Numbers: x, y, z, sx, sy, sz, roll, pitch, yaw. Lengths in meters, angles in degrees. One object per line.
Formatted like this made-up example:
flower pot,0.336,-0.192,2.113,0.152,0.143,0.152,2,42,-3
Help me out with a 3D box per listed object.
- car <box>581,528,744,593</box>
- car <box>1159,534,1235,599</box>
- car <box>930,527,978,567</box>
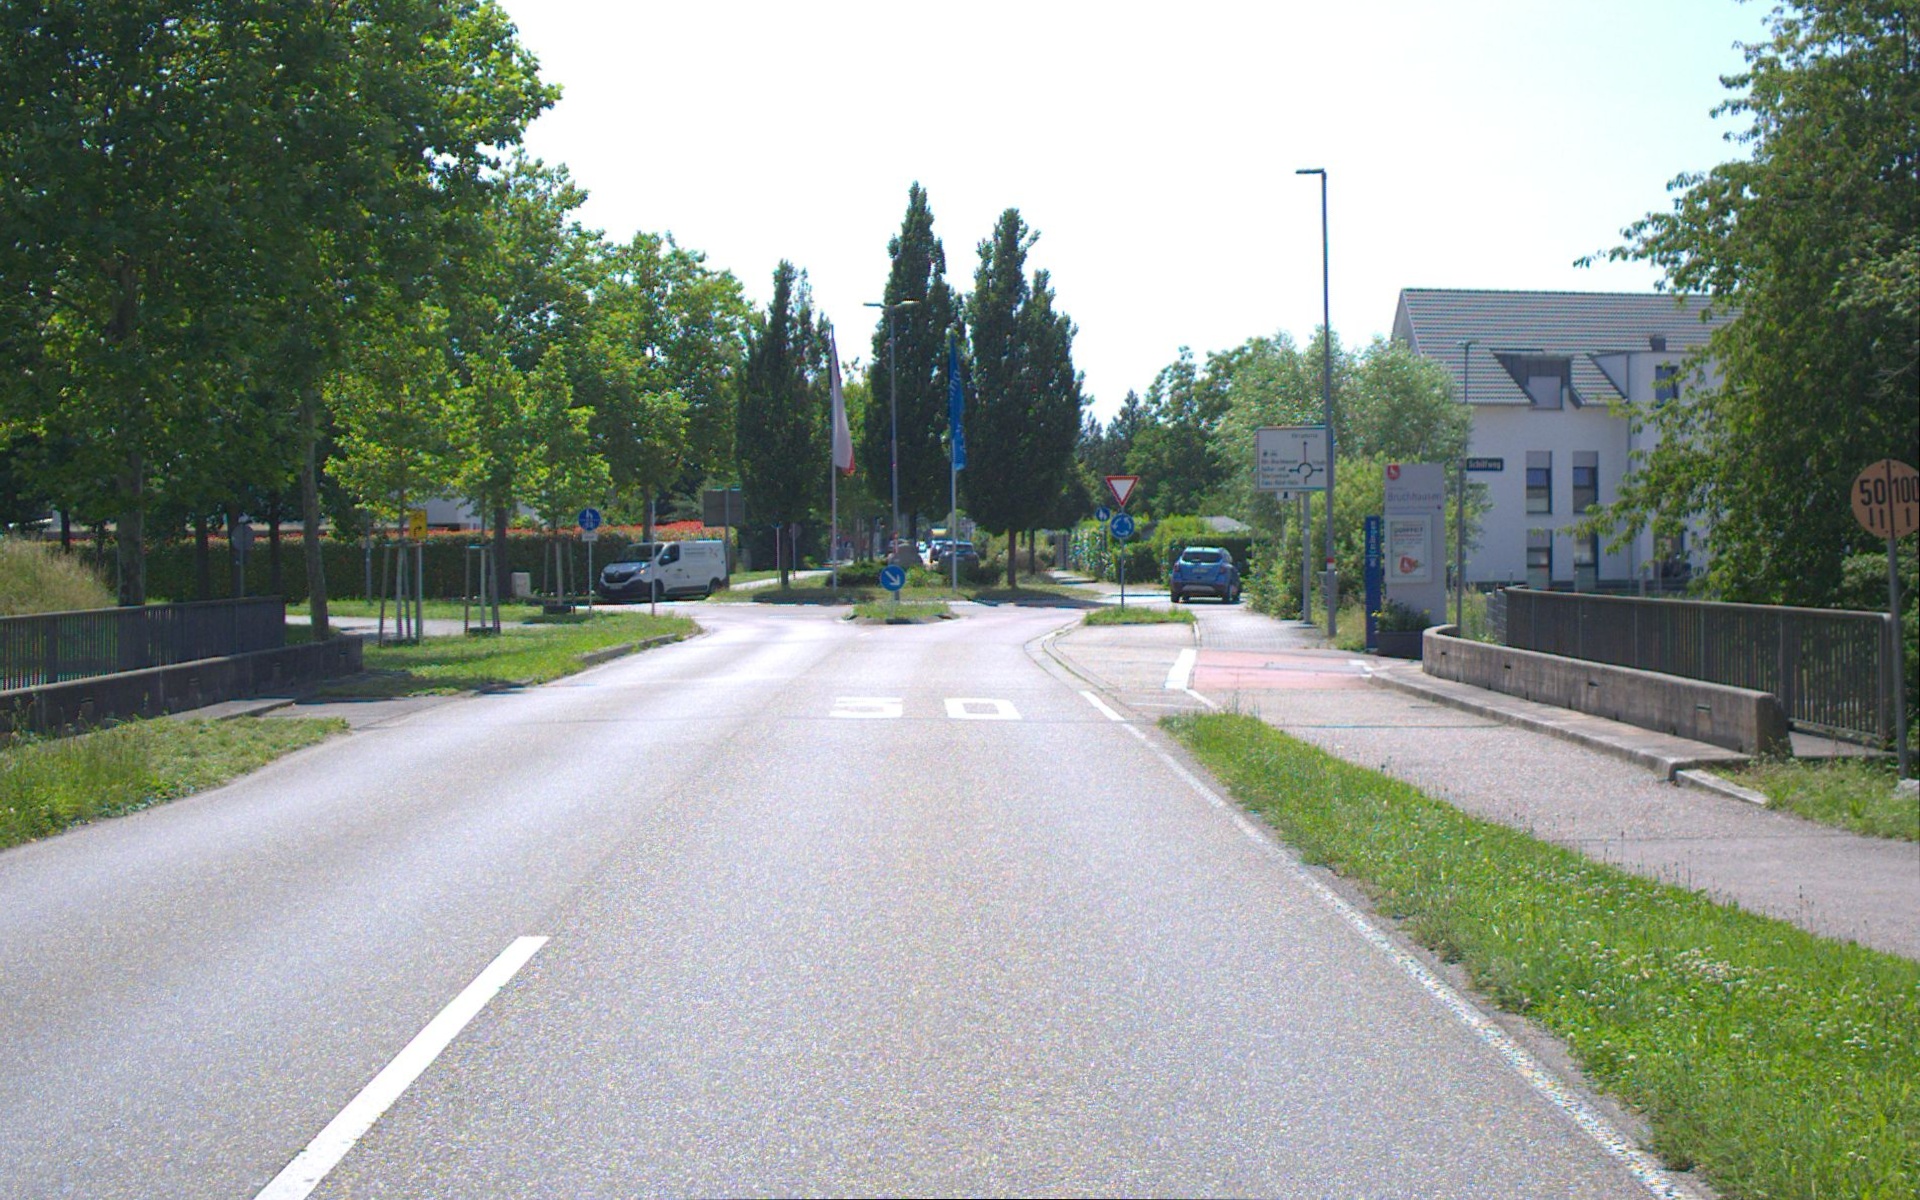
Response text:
car,-9.516,-1.254,110.439,2.133,2.007,5.136,1,1,41
car,7.116,-1.010,103.522,1.923,1.879,4.000,1,1,-1
car,-0.279,-2.425,156.545,1.994,1.764,4.000,0,1,3
